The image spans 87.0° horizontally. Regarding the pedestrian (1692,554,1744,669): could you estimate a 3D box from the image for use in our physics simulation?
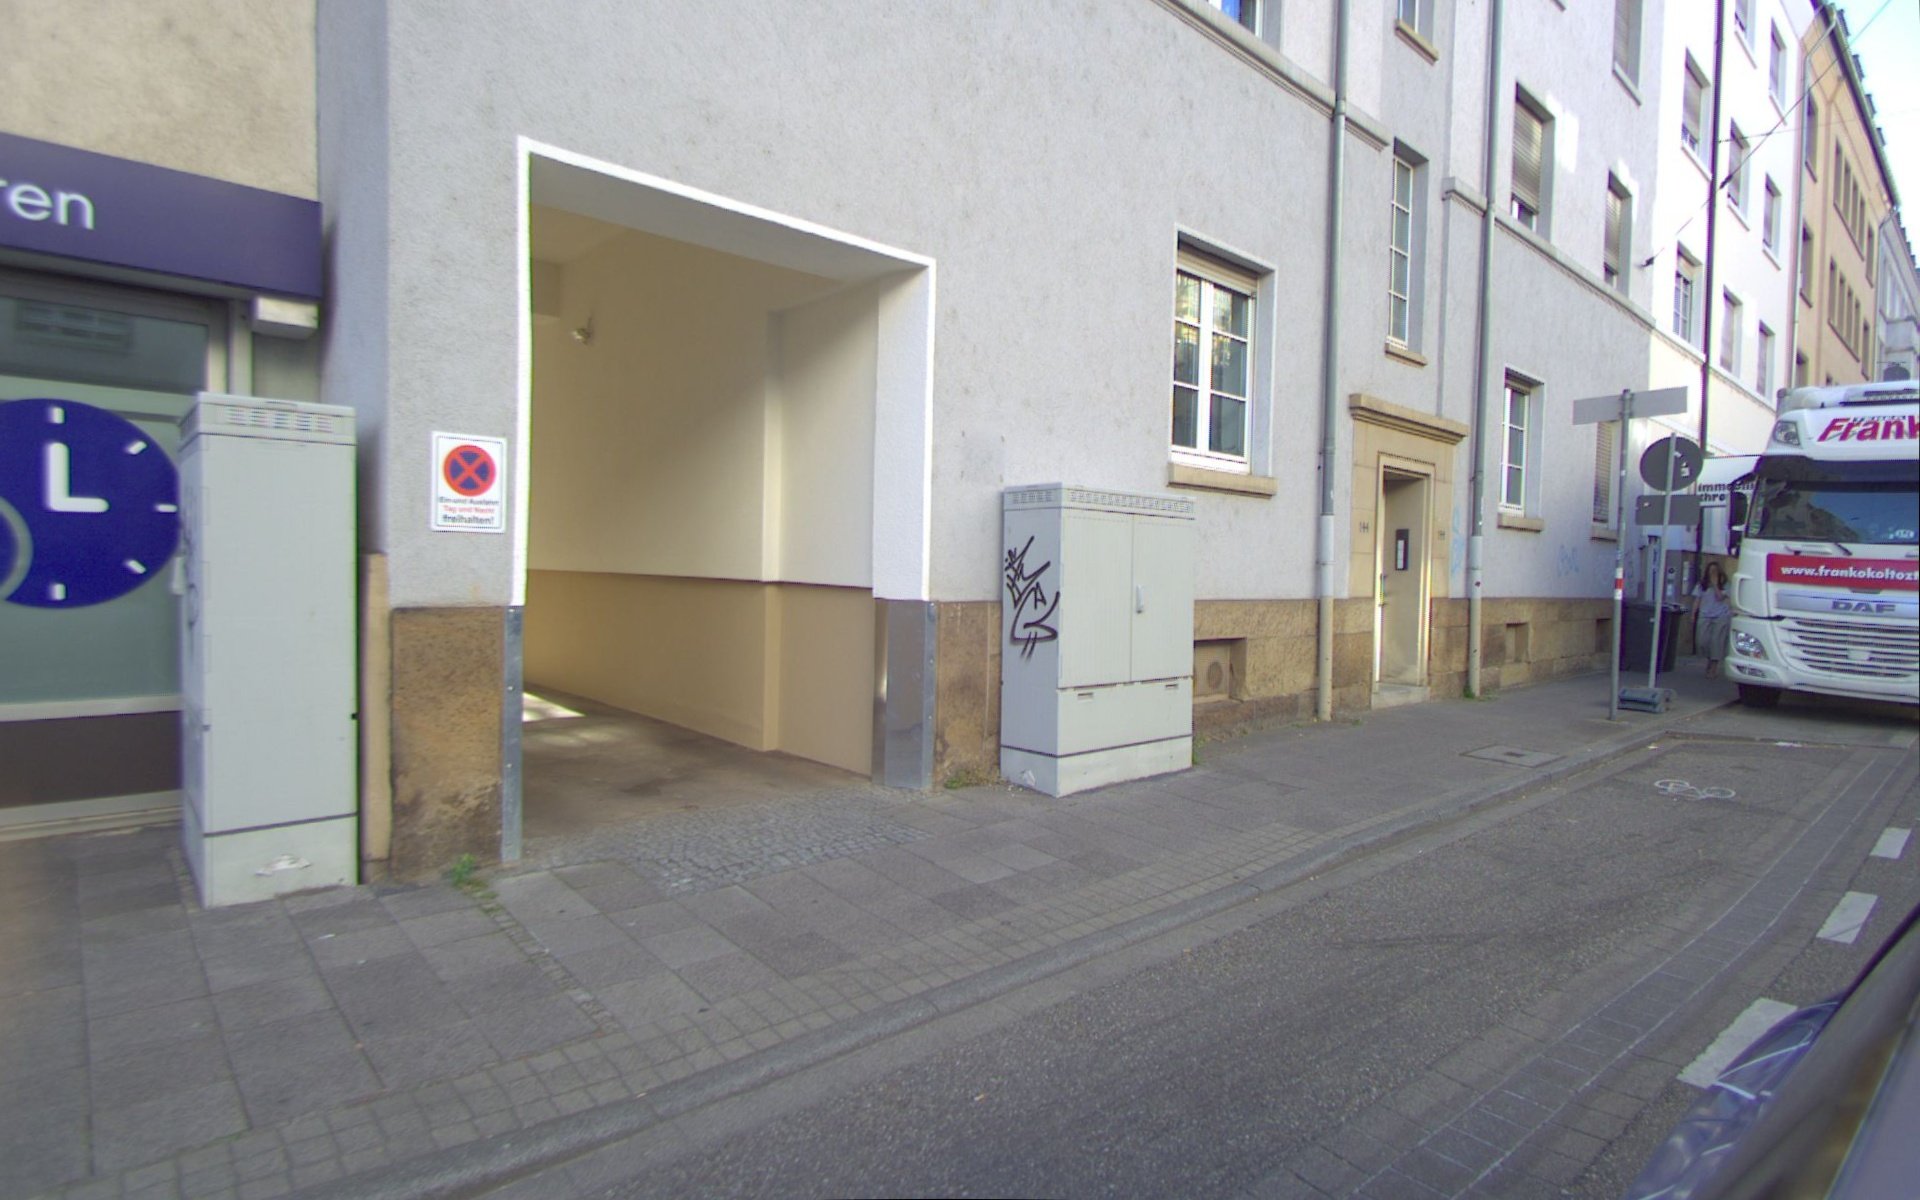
[{"bbox_3d":[11.152,0.157,14.894,0.459,1.649,0.475,-1,3,-40],"label":"pedestrian"}]

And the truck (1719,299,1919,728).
[{"bbox_3d":[13.796,-1.018,14.168,11.575,4.289,2.698,-2,3,-41],"label":"truck"}]
